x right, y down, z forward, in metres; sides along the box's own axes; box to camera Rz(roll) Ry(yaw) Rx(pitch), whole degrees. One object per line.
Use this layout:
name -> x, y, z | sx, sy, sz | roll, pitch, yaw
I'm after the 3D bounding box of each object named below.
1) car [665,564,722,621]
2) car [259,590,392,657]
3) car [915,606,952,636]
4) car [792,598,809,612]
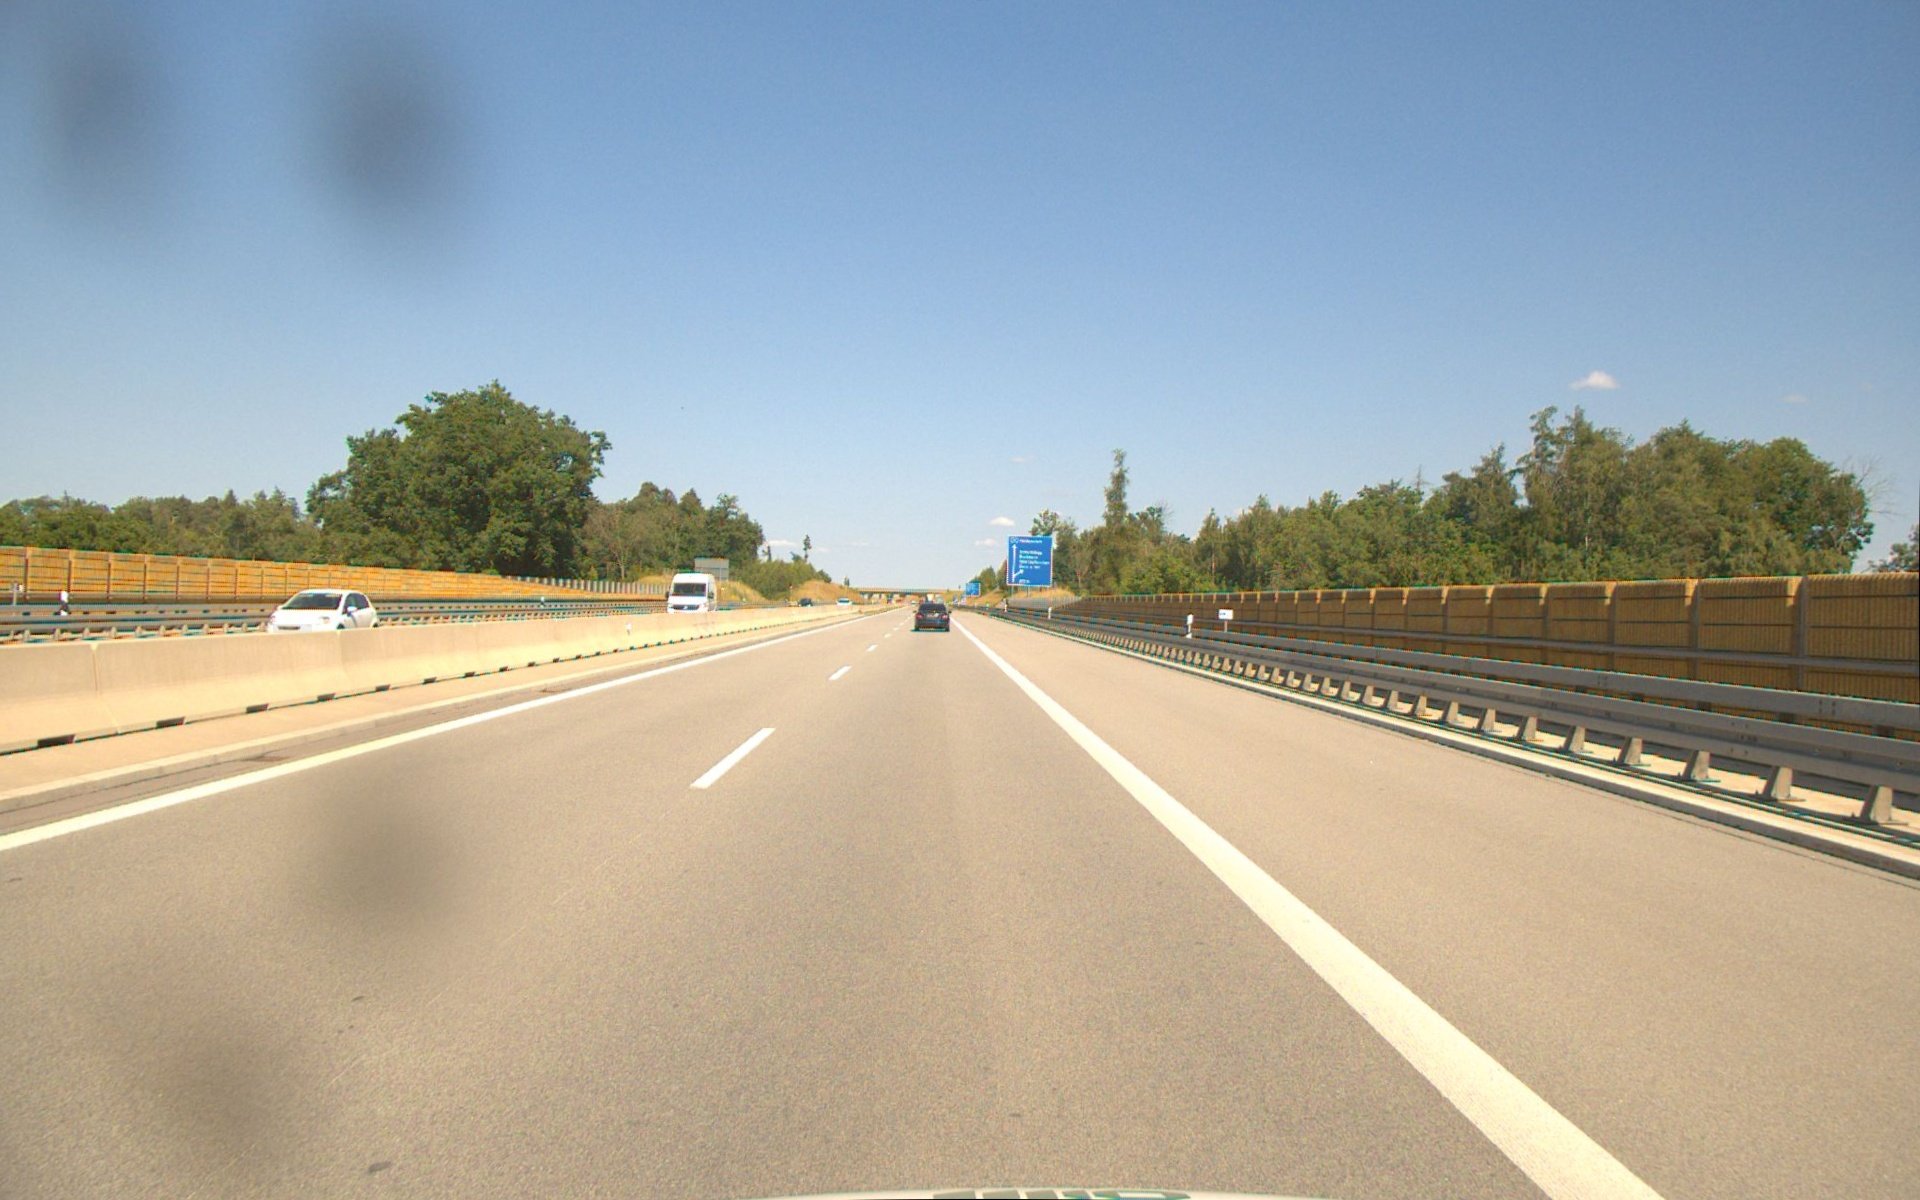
car -> -13.327, -0.370, 83.055 | 1.982, 2.717, 6.484 | 1, 0, -2
car -> -15.398, 0.541, 40.375 | 1.614, 1.535, 4.331 | 1, 0, -1
car -> -1.305, 1.002, 82.006 | 1.753, 1.398, 3.916 | 1, 0, -1
car -> -17.811, 0.533, 185.091 | 1.547, 1.483, 4.448 | 1, 0, -1
